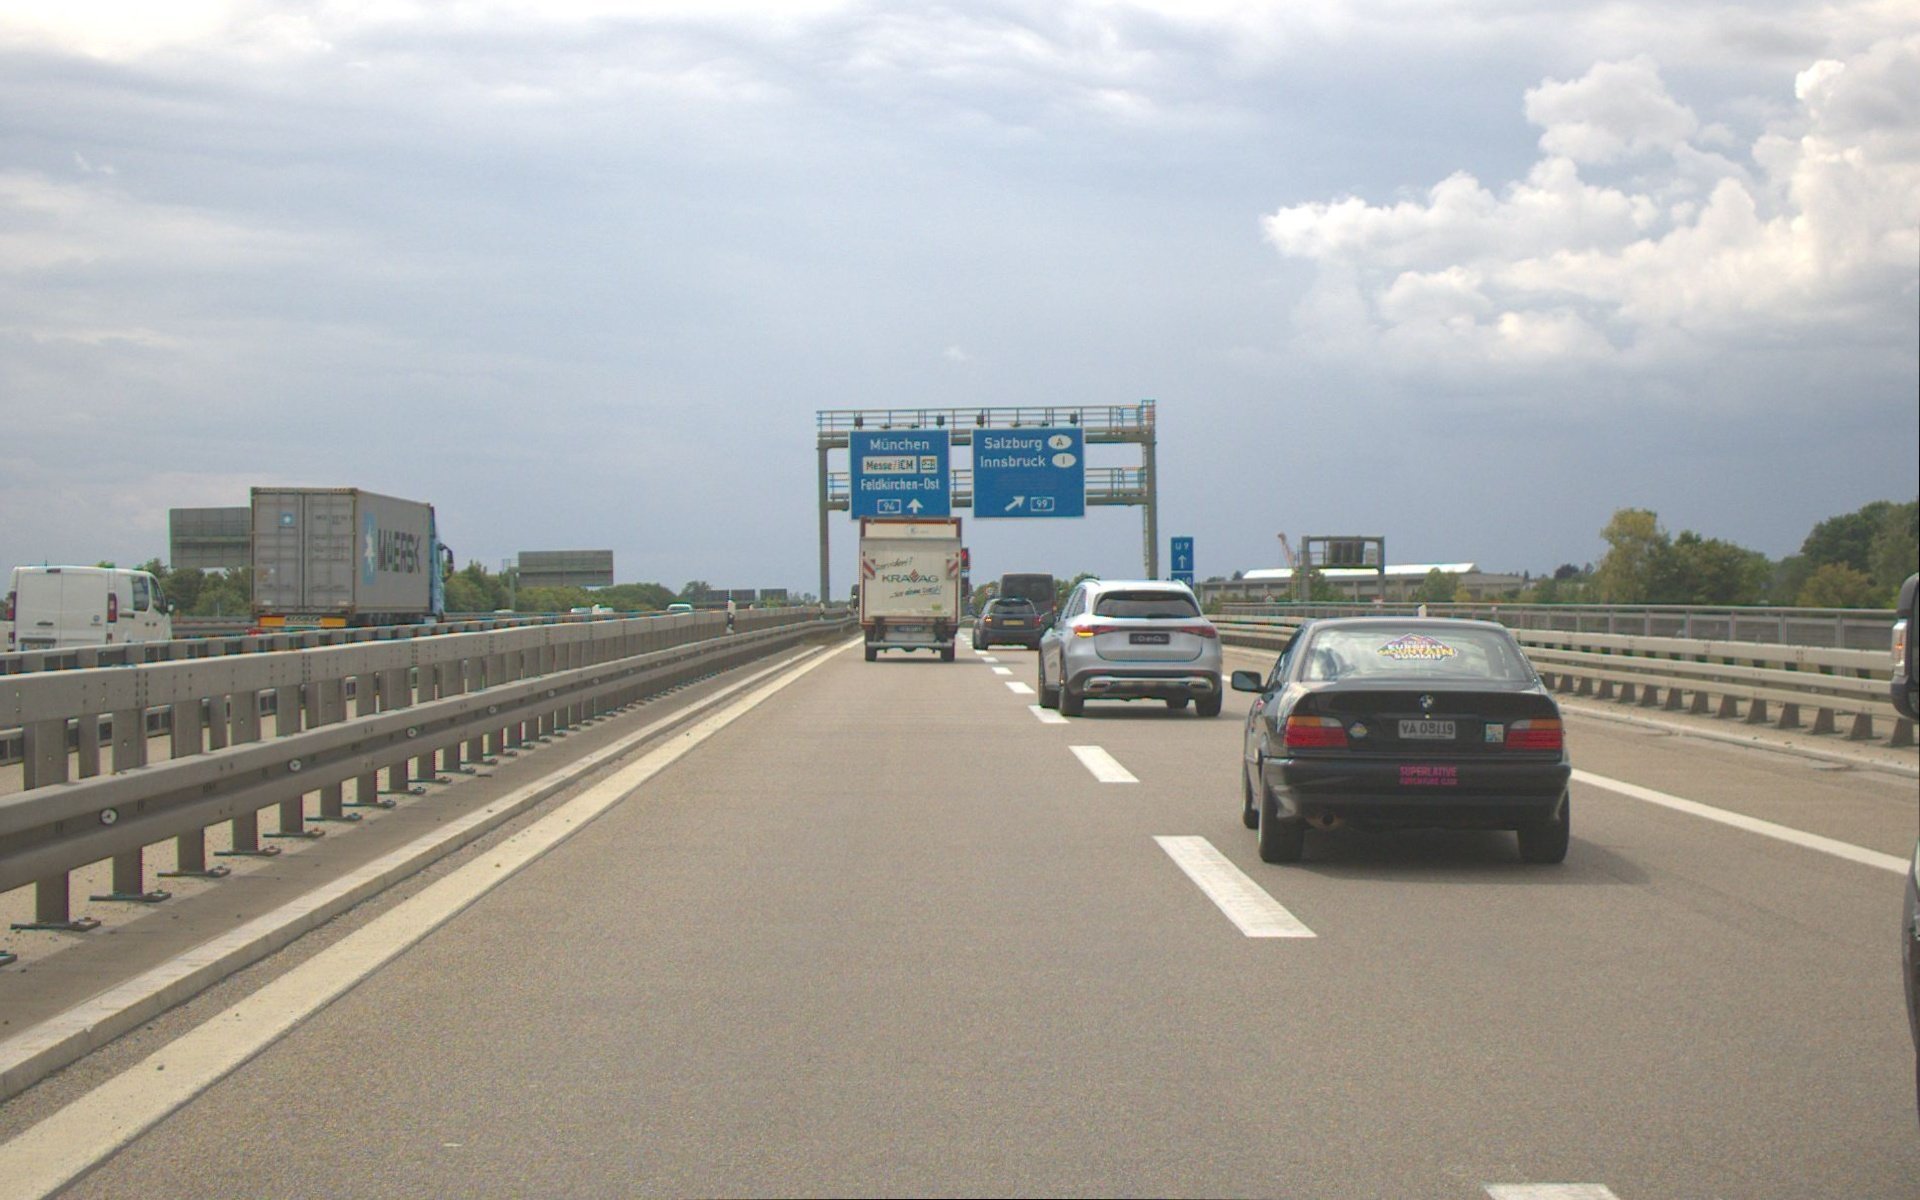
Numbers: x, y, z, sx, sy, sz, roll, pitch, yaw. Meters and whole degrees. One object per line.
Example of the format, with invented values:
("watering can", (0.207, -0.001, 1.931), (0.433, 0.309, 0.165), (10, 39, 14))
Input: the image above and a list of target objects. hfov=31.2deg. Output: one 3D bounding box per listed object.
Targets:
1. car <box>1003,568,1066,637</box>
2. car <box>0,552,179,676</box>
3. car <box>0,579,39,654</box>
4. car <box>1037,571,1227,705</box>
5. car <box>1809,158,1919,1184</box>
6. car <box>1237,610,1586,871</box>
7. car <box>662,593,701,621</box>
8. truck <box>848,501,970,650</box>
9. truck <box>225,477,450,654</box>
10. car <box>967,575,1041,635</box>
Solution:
("car", (2.484, 0.054, 115.975), (1.906, 2.254, 4.649), (1, 0, -1))
("car", (-14.782, 0.220, 58.505), (1.993, 2.007, 4.374), (1, 0, -1))
("car", (-19.111, 0.293, 65.810), (1.798, 1.415, 4.000), (1, 0, 1))
("car", (2.023, 0.427, 41.484), (1.819, 1.509, 4.001), (1, 0, -4))
("car", (3.384, 0.189, 6.074), (2.114, 2.445, 6.152), (1, 0, -1))
("car", (2.490, 0.724, 19.817), (1.704, 1.277, 4.365), (1, 0, 4))
("car", (-15.913, 0.374, 196.626), (1.828, 1.557, 4.000), (0, 0, 1))
("truck", (-1.139, -0.460, 77.675), (2.569, 3.115, 8.634), (1, -1, -1))
("truck", (-15.416, -0.840, 86.596), (3.183, 4.005, 16.076), (1, 0, -2))
("car", (1.183, 0.124, 93.409), (1.884, 1.547, 4.000), (1, 0, -1))
